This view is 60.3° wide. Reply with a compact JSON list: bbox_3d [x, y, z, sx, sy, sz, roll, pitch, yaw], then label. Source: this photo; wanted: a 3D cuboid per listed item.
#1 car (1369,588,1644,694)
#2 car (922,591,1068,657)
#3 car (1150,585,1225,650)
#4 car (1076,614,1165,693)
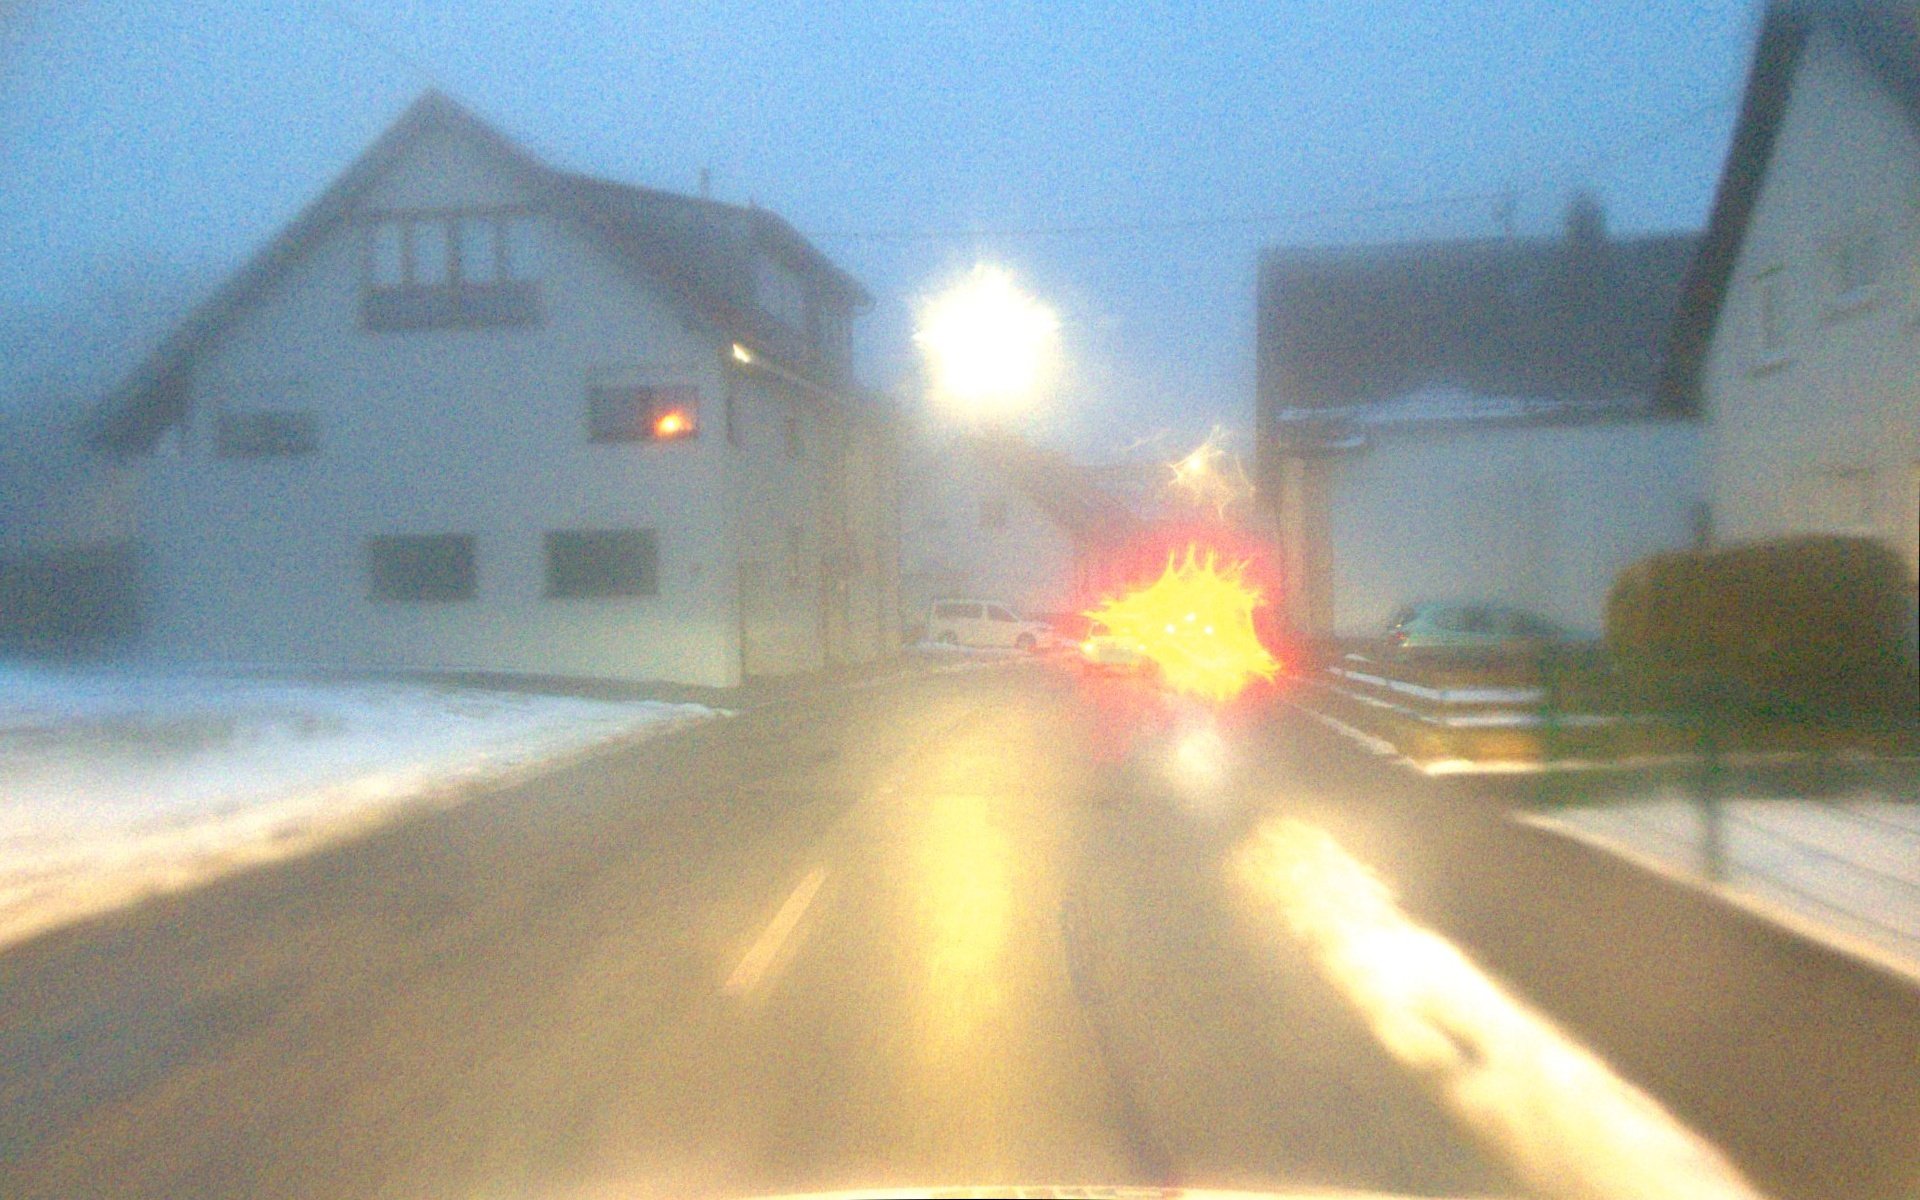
[{"bbox_3d":[8.730,0.631,26.683,3.902,1.478,1.716,1,2,6],"label":"car"},{"bbox_3d":[1.219,0.842,57.856,4.636,2.048,2.000,-2,2,22],"label":"car"},{"bbox_3d":[7.666,0.562,55.452,1.951,1.869,4.004,-2,2,15],"label":"car"},{"bbox_3d":[3.931,1.254,40.042,1.951,1.534,4.004,-3,2,7],"label":"car"}]
